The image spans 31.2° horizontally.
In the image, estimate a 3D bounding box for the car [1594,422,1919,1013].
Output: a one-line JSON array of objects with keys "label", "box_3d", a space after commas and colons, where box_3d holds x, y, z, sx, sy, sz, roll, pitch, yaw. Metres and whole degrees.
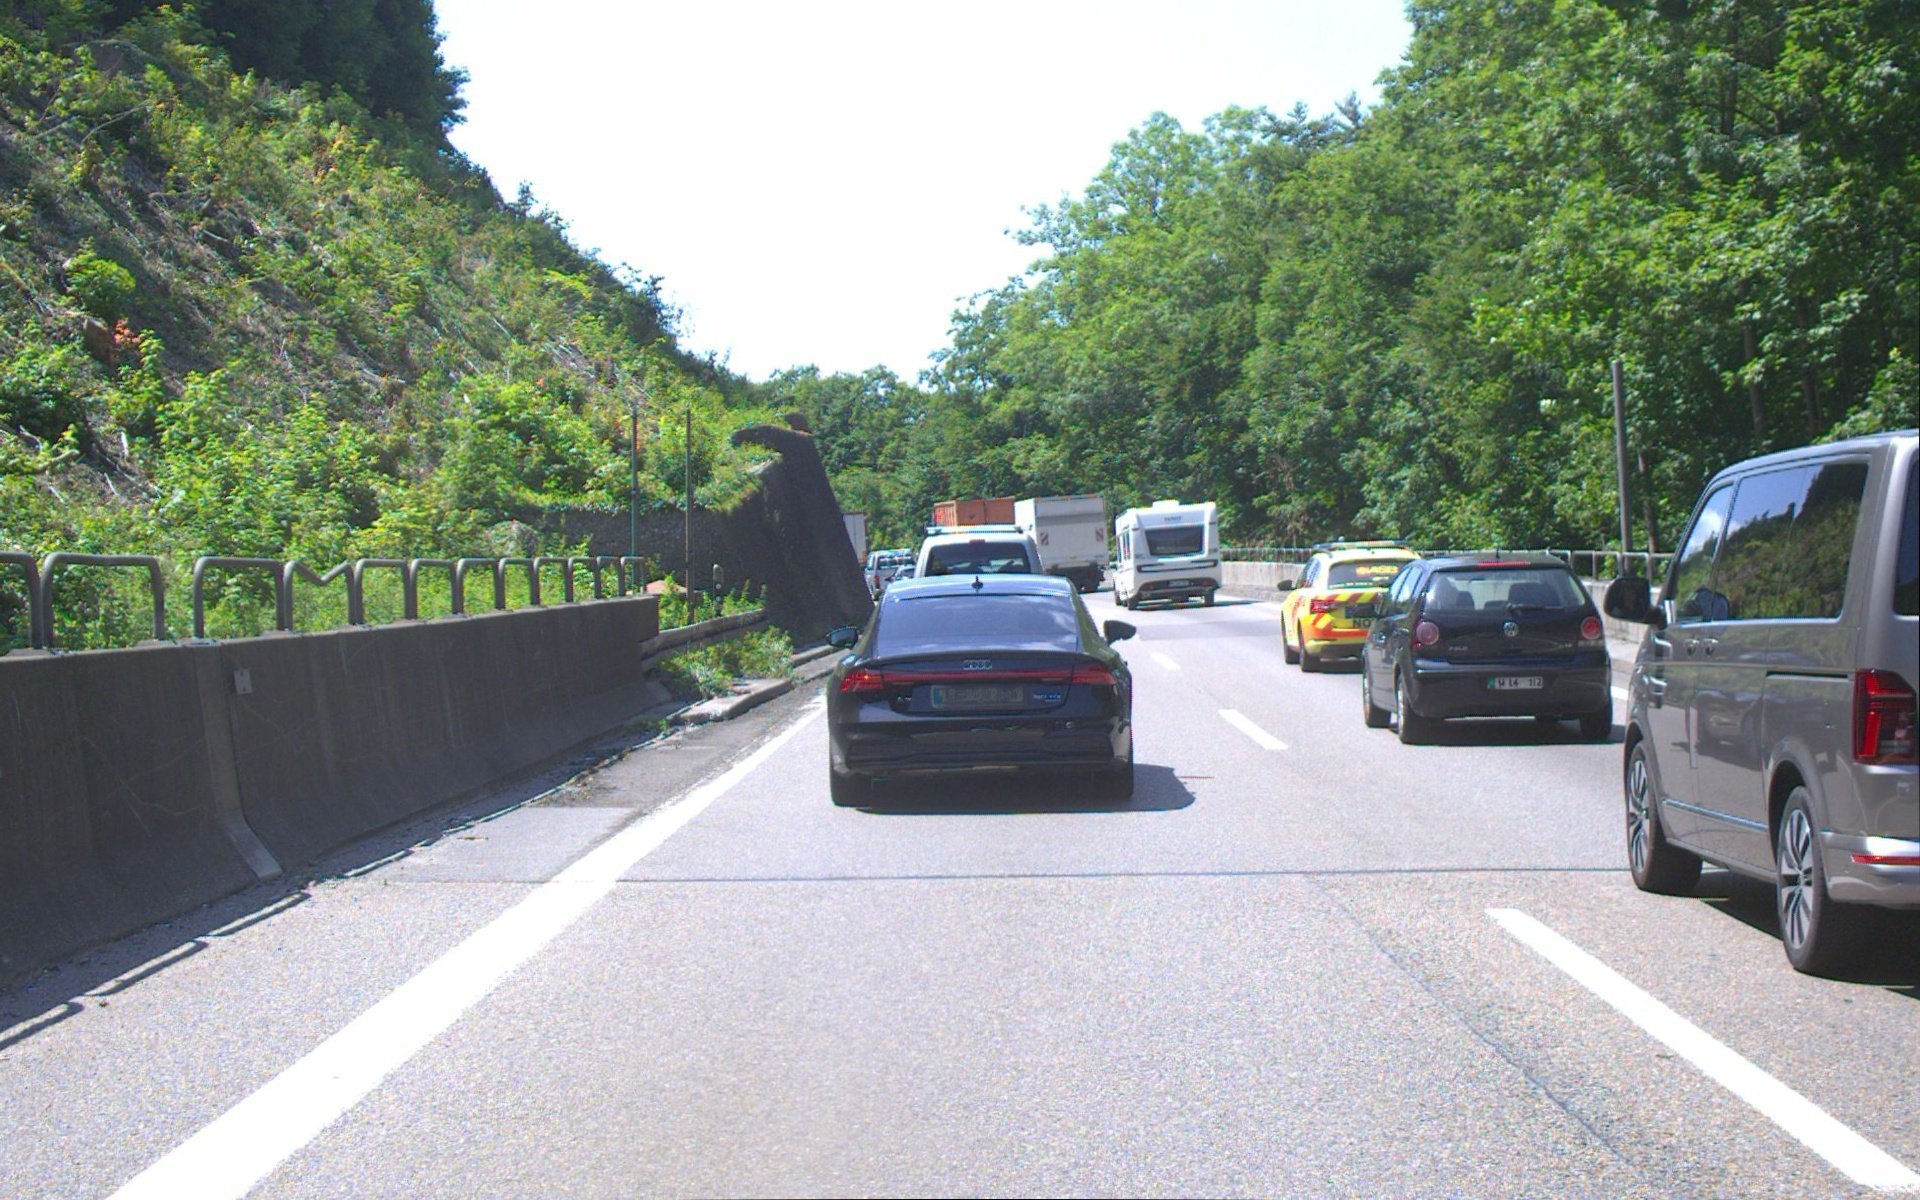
[{"label": "car", "box_3d": [3.874, 0.364, 13.538, 1.940, 1.924, 4.694, 0, 1, 1]}]

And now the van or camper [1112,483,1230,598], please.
[{"label": "van or camper", "box_3d": [5.426, -1.531, 89.301, 2.603, 2.845, 6.336, 0, 1, 0]}]

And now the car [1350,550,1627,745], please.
[{"label": "car", "box_3d": [4.204, 0.337, 27.894, 1.685, 1.453, 4.000, 0, 1, 1]}]

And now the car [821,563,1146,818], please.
[{"label": "car", "box_3d": [0.094, 0.512, 22.478, 1.904, 1.484, 4.379, 0, 1, -1]}]

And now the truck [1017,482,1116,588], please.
[{"label": "truck", "box_3d": [3.794, -2.307, 124.511, 2.925, 3.674, 7.725, 1, 1, -3]}]

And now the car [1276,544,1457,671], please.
[{"label": "car", "box_3d": [4.933, 0.066, 42.179, 1.808, 1.473, 4.081, 0, 1, 1]}]

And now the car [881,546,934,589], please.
[{"label": "car", "box_3d": [-1.957, -1.200, 126.525, 1.750, 1.565, 3.772, 0, 1, -4]}]

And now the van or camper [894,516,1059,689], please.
[{"label": "van or camper", "box_3d": [0.246, 0.004, 40.859, 1.853, 1.935, 4.165, 0, 1, 2]}]

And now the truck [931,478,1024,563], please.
[{"label": "truck", "box_3d": [0.690, -3.326, 145.797, 3.163, 3.456, 8.223, 1, 1, -5]}]

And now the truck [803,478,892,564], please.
[{"label": "truck", "box_3d": [-6.154, -4.229, 186.579, 3.709, 4.488, 7.726, 1, 1, -10]}]

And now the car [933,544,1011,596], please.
[{"label": "car", "box_3d": [0.354, -0.960, 108.643, 1.993, 1.612, 4.001, 0, 1, -7]}]

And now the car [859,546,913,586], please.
[{"label": "car", "box_3d": [-3.000, -1.379, 138.762, 1.750, 1.565, 3.772, 0, 1, -8]}]
